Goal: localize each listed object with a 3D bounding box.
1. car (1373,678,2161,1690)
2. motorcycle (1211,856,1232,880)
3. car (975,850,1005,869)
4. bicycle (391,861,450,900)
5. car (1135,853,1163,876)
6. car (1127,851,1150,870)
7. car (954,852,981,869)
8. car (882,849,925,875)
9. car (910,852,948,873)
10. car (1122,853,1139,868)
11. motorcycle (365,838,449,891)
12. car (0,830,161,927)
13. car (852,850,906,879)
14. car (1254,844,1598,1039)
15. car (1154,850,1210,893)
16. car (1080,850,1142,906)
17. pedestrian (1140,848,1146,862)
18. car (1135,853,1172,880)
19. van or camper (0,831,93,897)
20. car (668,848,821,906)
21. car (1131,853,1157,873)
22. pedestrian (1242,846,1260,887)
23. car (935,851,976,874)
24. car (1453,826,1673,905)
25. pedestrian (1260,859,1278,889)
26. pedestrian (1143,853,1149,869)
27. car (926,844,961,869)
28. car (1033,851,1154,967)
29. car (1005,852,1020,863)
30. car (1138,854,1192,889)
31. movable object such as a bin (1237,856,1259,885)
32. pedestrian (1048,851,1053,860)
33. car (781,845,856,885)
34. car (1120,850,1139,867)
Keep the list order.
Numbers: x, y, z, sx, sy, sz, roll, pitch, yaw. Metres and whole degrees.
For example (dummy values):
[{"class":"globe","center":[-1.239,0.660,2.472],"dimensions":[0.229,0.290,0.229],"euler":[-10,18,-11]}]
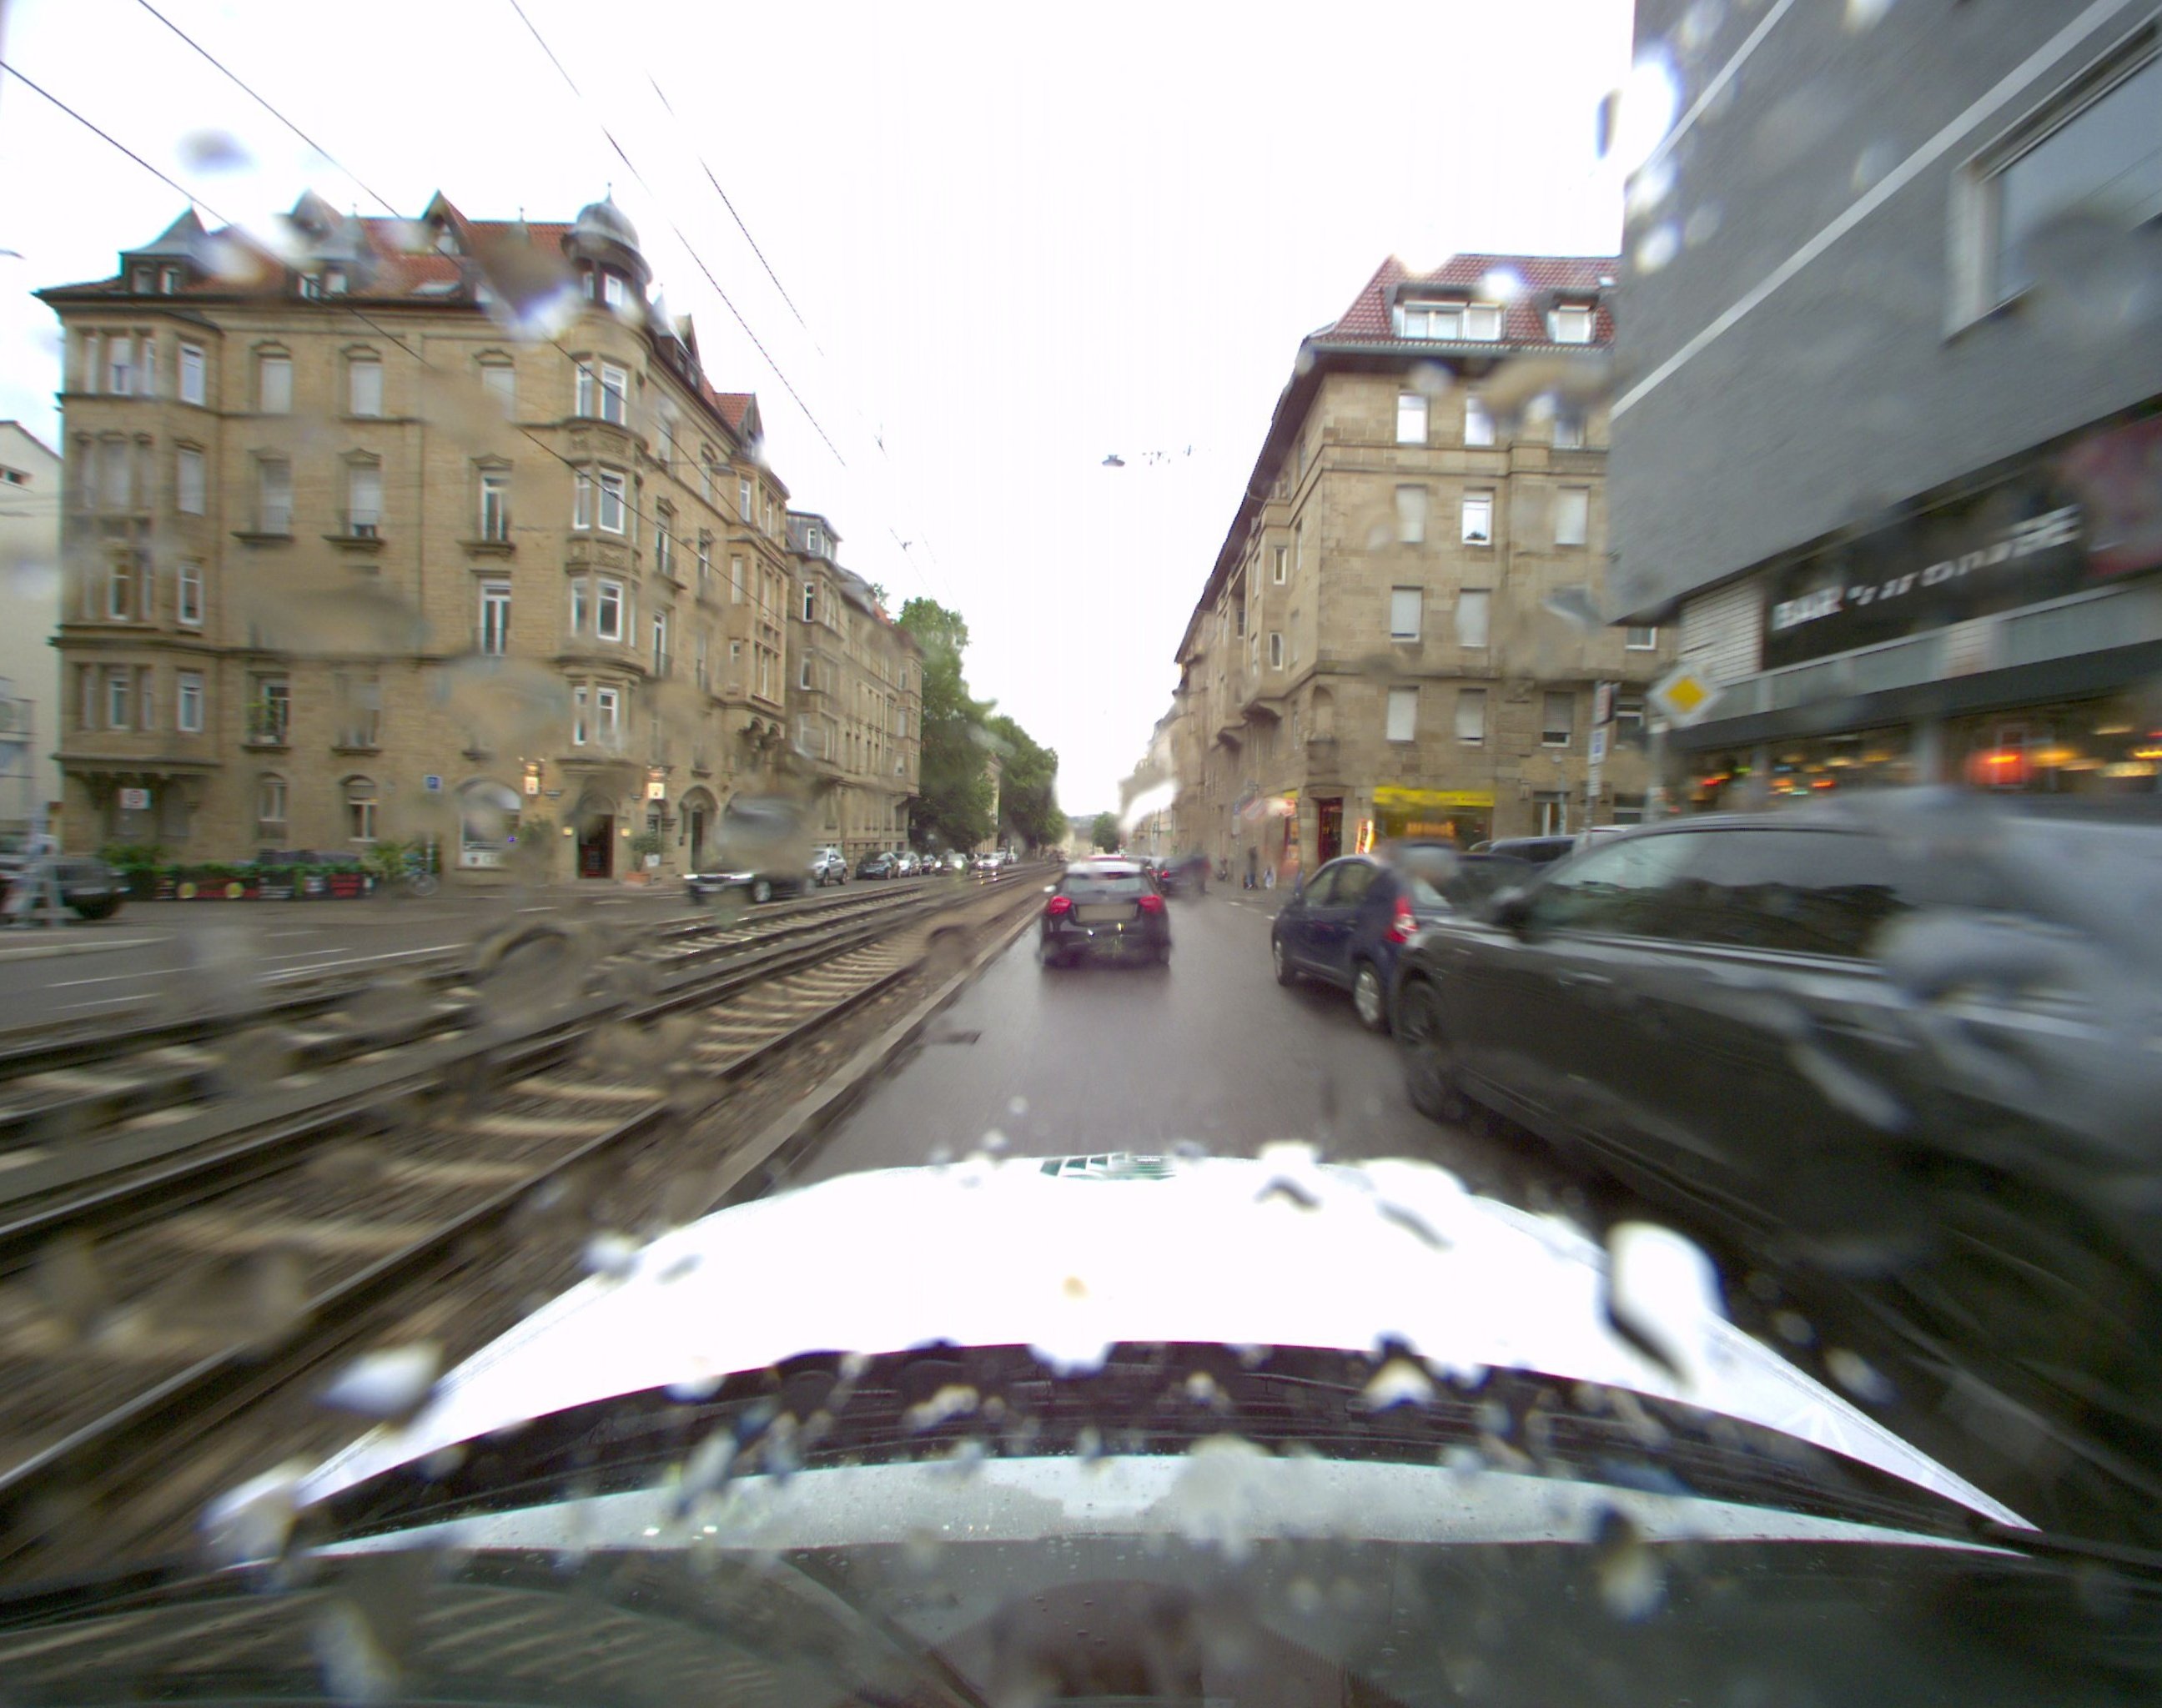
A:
[{"class":"car","center":[2.797,0.575,3.097],"dimensions":[1.786,1.760,4.566],"euler":[0,0,1]},{"class":"motorcycle","center":[7.276,0.684,42.320],"dimensions":[0.702,1.199,2.747],"euler":[0,0,2]},{"class":"car","center":[-7.467,0.435,67.408],"dimensions":[1.975,1.457,4.294],"euler":[0,0,0]},{"class":"bicycle","center":[-19.372,0.771,23.866],"dimensions":[2.109,1.119,0.624],"euler":[-1,0,30]},{"class":"car","center":[4.207,0.642,50.740],"dimensions":[1.538,1.415,3.446],"euler":[0,0,0]},{"class":"car","center":[4.585,0.491,65.368],"dimensions":[1.662,1.434,3.956],"euler":[-1,0,0]},{"class":"car","center":[-10.465,0.586,75.445],"dimensions":[1.843,1.464,4.549],"euler":[-1,0,0]},{"class":"car","center":[-10.934,0.470,50.440],"dimensions":[1.688,1.524,3.857],"euler":[-1,0,2]},{"class":"car","center":[-10.452,0.575,56.379],"dimensions":[1.756,1.398,4.270],"euler":[-1,0,0]},{"class":"car","center":[4.967,0.606,82.025],"dimensions":[1.564,1.462,3.601],"euler":[0,0,2]},{"class":"motorcycle","center":[-21.209,0.328,25.643],"dimensions":[2.069,1.619,0.623],"euler":[-1,0,-1]},{"class":"car","center":[-20.956,0.418,15.381],"dimensions":[4.679,1.728,2.033],"euler":[0,0,-2]},{"class":"car","center":[-11.210,0.552,45.445],"dimensions":[1.864,1.508,4.170],"euler":[0,0,1]},{"class":"car","center":[3.129,0.672,8.333],"dimensions":[1.687,1.482,3.925],"euler":[-1,0,-3]},{"class":"car","center":[3.644,0.601,29.897],"dimensions":[1.664,1.444,3.792],"euler":[-1,0,2]},{"class":"car","center":[0.922,0.689,25.507],"dimensions":[1.778,1.581,4.001],"euler":[0,0,2]},{"class":"pedestrian","center":[7.777,0.122,102.204],"dimensions":[0.743,1.833,1.039],"euler":[-2,0,3]},{"class":"car","center":[4.048,0.655,45.948],"dimensions":[1.782,1.462,4.083],"euler":[0,0,0]},{"class":"van or camper","center":[-30.956,0.299,22.877],"dimensions":[3.940,1.775,1.942],"euler":[-1,0,-1]},{"class":"car","center":[-9.347,0.575,23.177],"dimensions":[2.079,1.457,4.864],"euler":[-1,0,3]},{"class":"car","center":[4.620,0.647,60.199],"dimensions":[1.585,1.434,3.683],"euler":[0,0,-1]},{"class":"pedestrian","center":[6.509,0.459,31.128],"dimensions":[0.559,1.535,0.710],"euler":[0,0,1]},{"class":"car","center":[-7.869,0.520,51.343],"dimensions":[1.697,1.388,3.785],"euler":[0,0,4]},{"class":"car","center":[12.991,0.289,22.159],"dimensions":[4.762,1.861,2.000],"euler":[-2,0,0]},{"class":"pedestrian","center":[6.738,0.722,29.235],"dimensions":[0.509,1.050,0.627],"euler":[0,0,1]},{"class":"pedestrian","center":[7.469,0.771,93.248],"dimensions":[0.605,1.763,0.688],"euler":[-1,0,0]},{"class":"car","center":[-10.559,0.184,62.914],"dimensions":[1.794,1.846,4.820],"euler":[-1,0,1]},{"class":"car","center":[0.200,0.719,12.430],"dimensions":[1.574,1.505,3.575],"euler":[0,0,1]},{"class":"car","center":[-9.343,0.477,111.384],"dimensions":[1.494,1.391,3.990],"euler":[-1,0,3]},{"class":"car","center":[3.573,0.712,35.363],"dimensions":[1.750,1.387,4.482],"euler":[-1,0,-2]},{"class":"movable object such as a bin","center":[6.580,0.636,32.073],"dimensions":[0.662,1.103,1.124],"euler":[1,0,1]},{"class":"pedestrian","center":[-5.829,0.335,153.913],"dimensions":[0.803,1.633,0.892],"euler":[-1,0,2]},{"class":"car","center":[-11.397,0.455,35.697],"dimensions":[1.852,1.652,4.315],"euler":[0,0,0]},{"class":"car","center":[5.149,0.424,86.595],"dimensions":[1.784,1.765,4.212],"euler":[-1,0,1]}]
